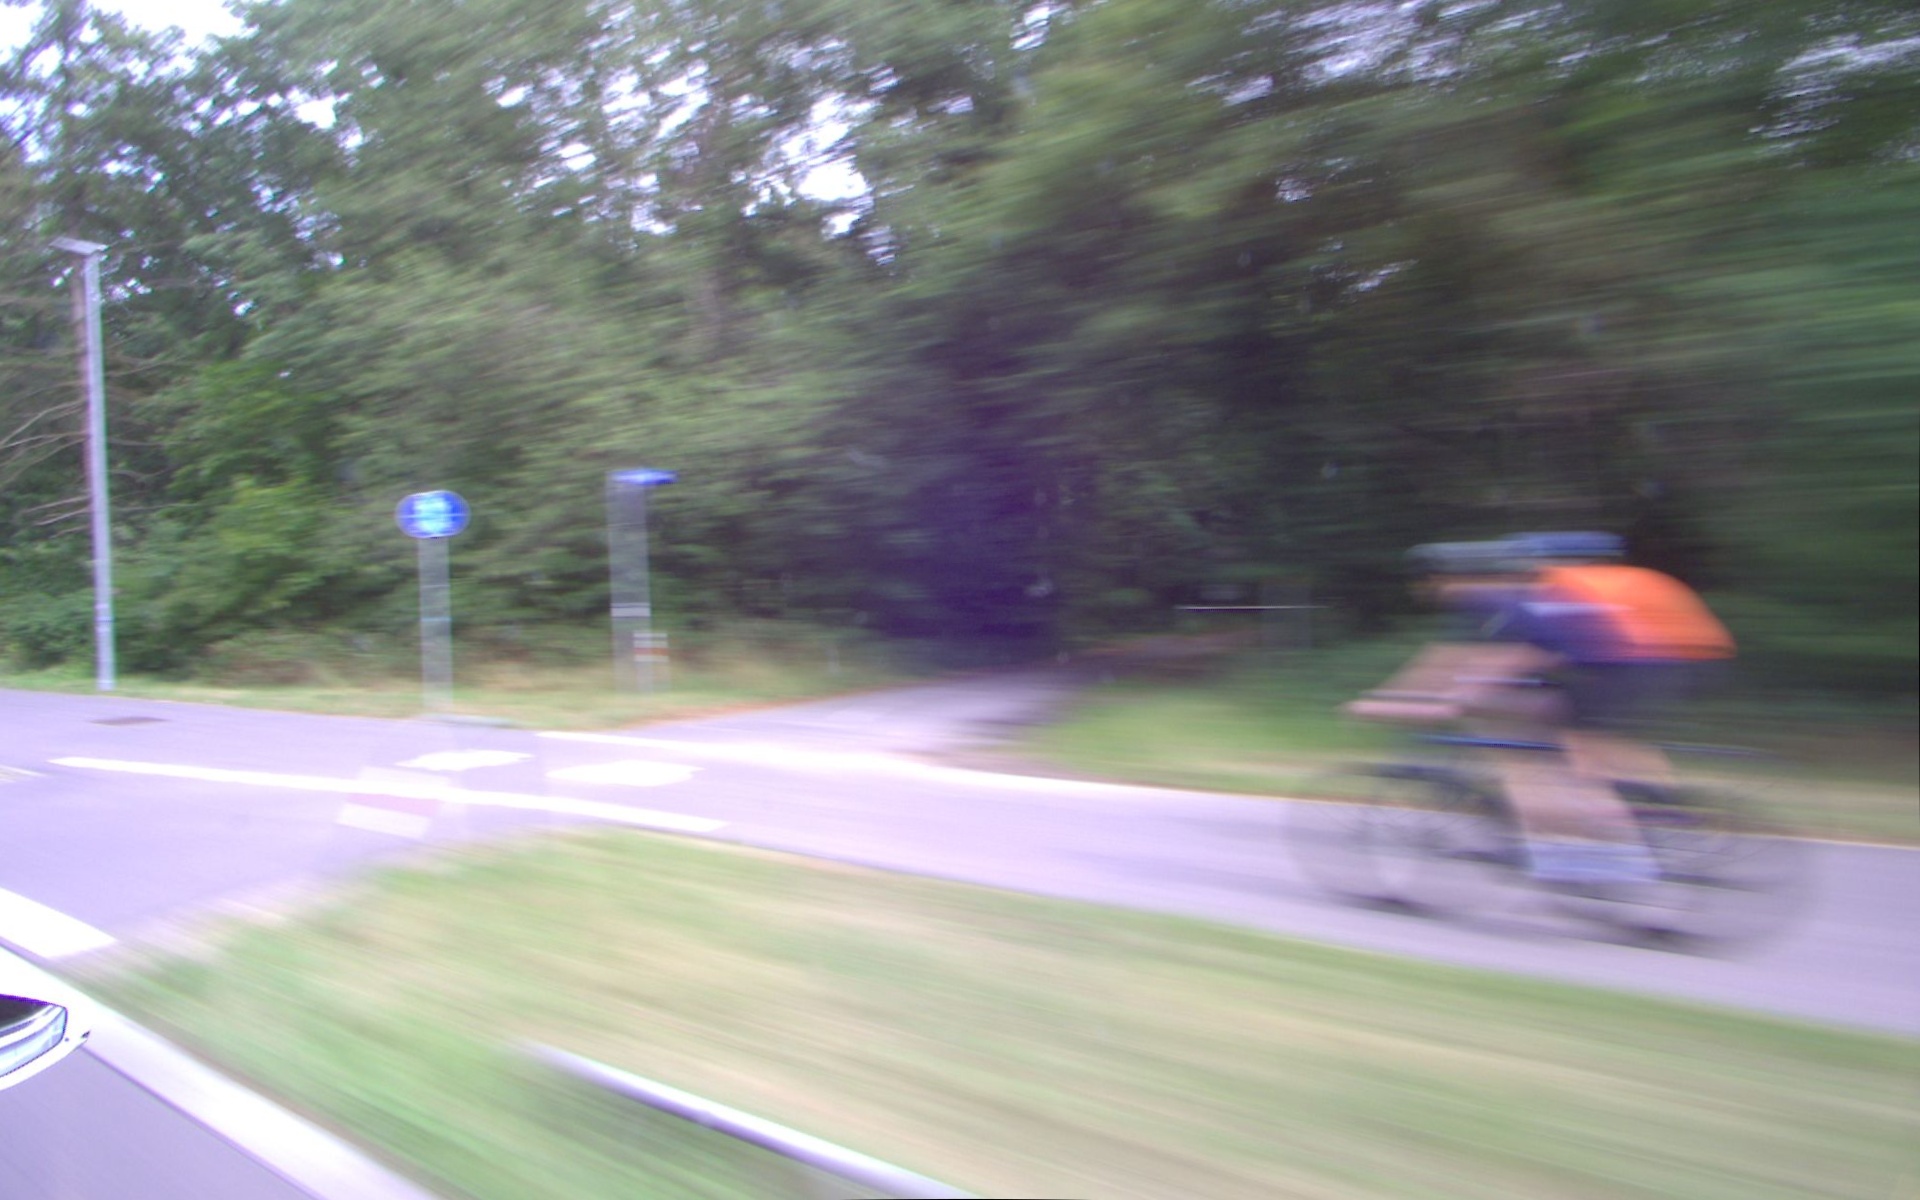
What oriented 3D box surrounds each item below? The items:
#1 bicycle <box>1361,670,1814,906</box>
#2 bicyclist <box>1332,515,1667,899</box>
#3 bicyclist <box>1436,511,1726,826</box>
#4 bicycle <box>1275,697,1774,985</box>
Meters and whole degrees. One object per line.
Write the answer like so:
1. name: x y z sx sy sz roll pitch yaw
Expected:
1. bicycle: 3.083 0.876 5.112 1.860 0.924 0.564 0 3 32
2. bicyclist: 2.263 0.417 4.268 1.170 1.434 0.519 -2 0 32
3. bicyclist: 3.109 0.334 5.093 1.170 1.433 0.519 -2 -2 32
4. bicycle: 2.300 0.927 4.258 1.729 0.924 0.564 -2 2 32
